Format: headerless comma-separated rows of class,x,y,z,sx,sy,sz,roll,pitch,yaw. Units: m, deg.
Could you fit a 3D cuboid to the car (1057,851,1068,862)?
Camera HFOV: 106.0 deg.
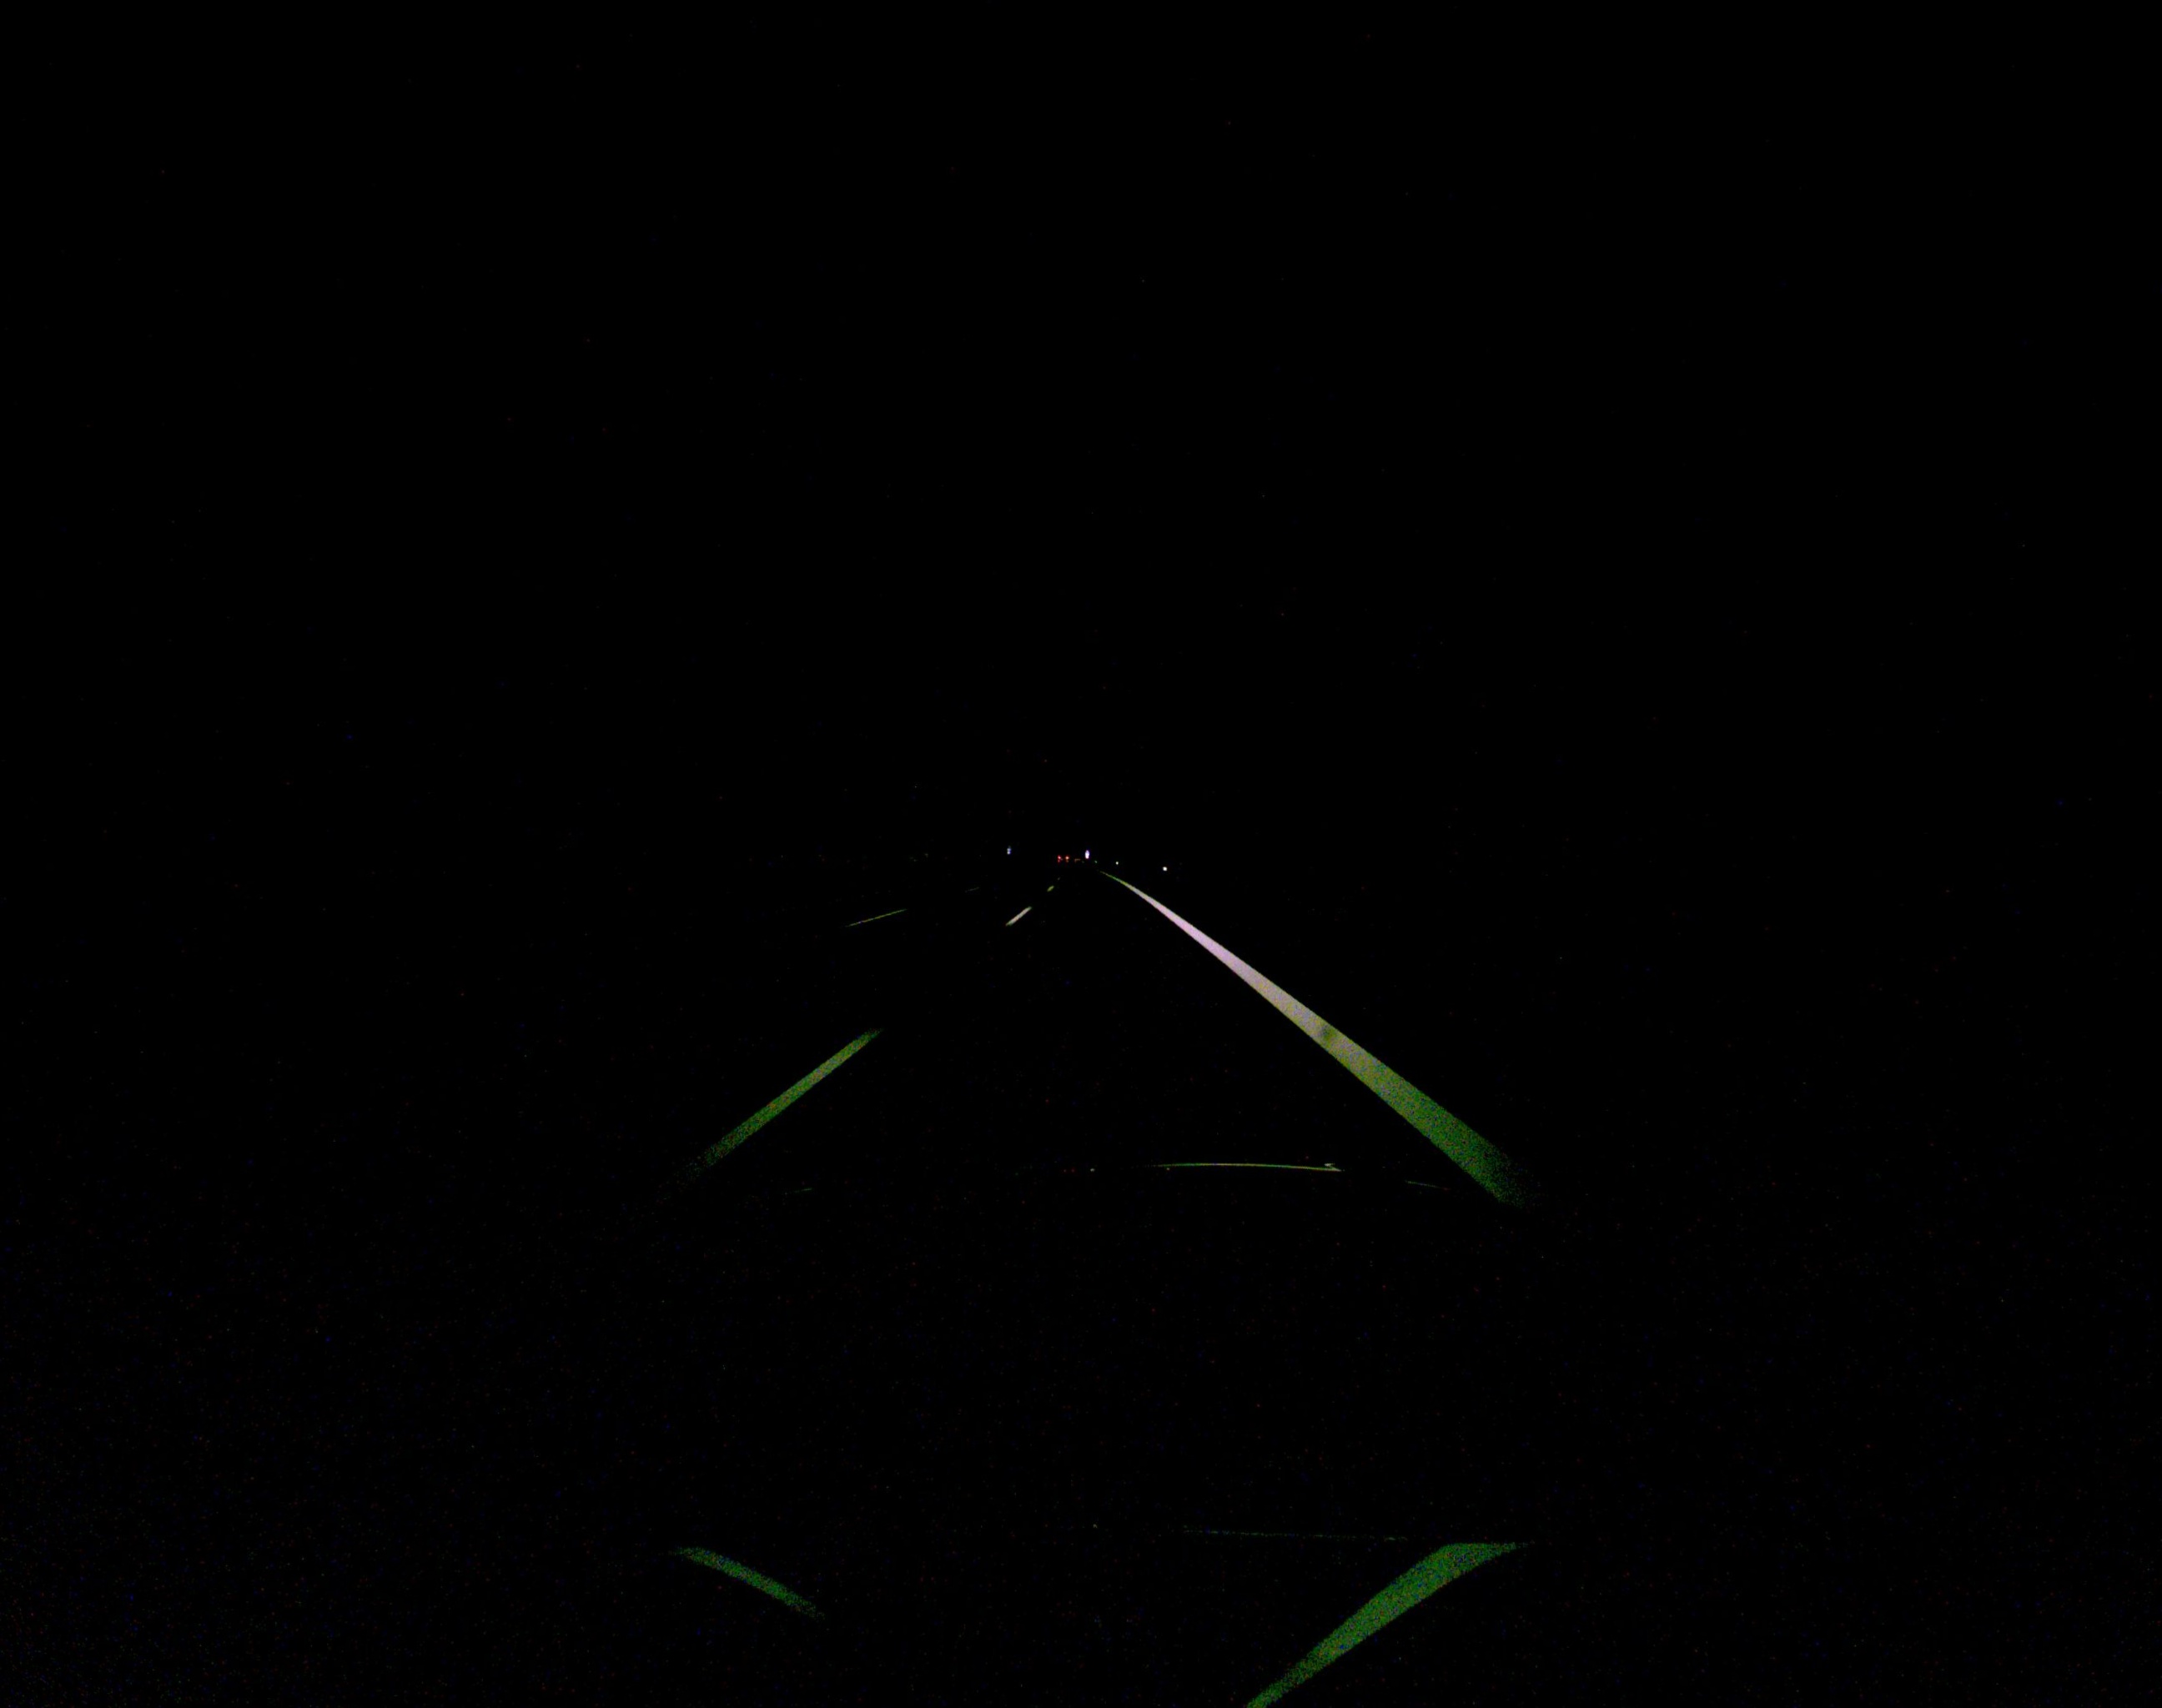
car,-4.225,0.557,189.582,2.520,2.553,6.049,1,-1,-1

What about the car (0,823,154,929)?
car,-17.401,0.353,12.326,1.986,1.611,4.078,-1,0,2
